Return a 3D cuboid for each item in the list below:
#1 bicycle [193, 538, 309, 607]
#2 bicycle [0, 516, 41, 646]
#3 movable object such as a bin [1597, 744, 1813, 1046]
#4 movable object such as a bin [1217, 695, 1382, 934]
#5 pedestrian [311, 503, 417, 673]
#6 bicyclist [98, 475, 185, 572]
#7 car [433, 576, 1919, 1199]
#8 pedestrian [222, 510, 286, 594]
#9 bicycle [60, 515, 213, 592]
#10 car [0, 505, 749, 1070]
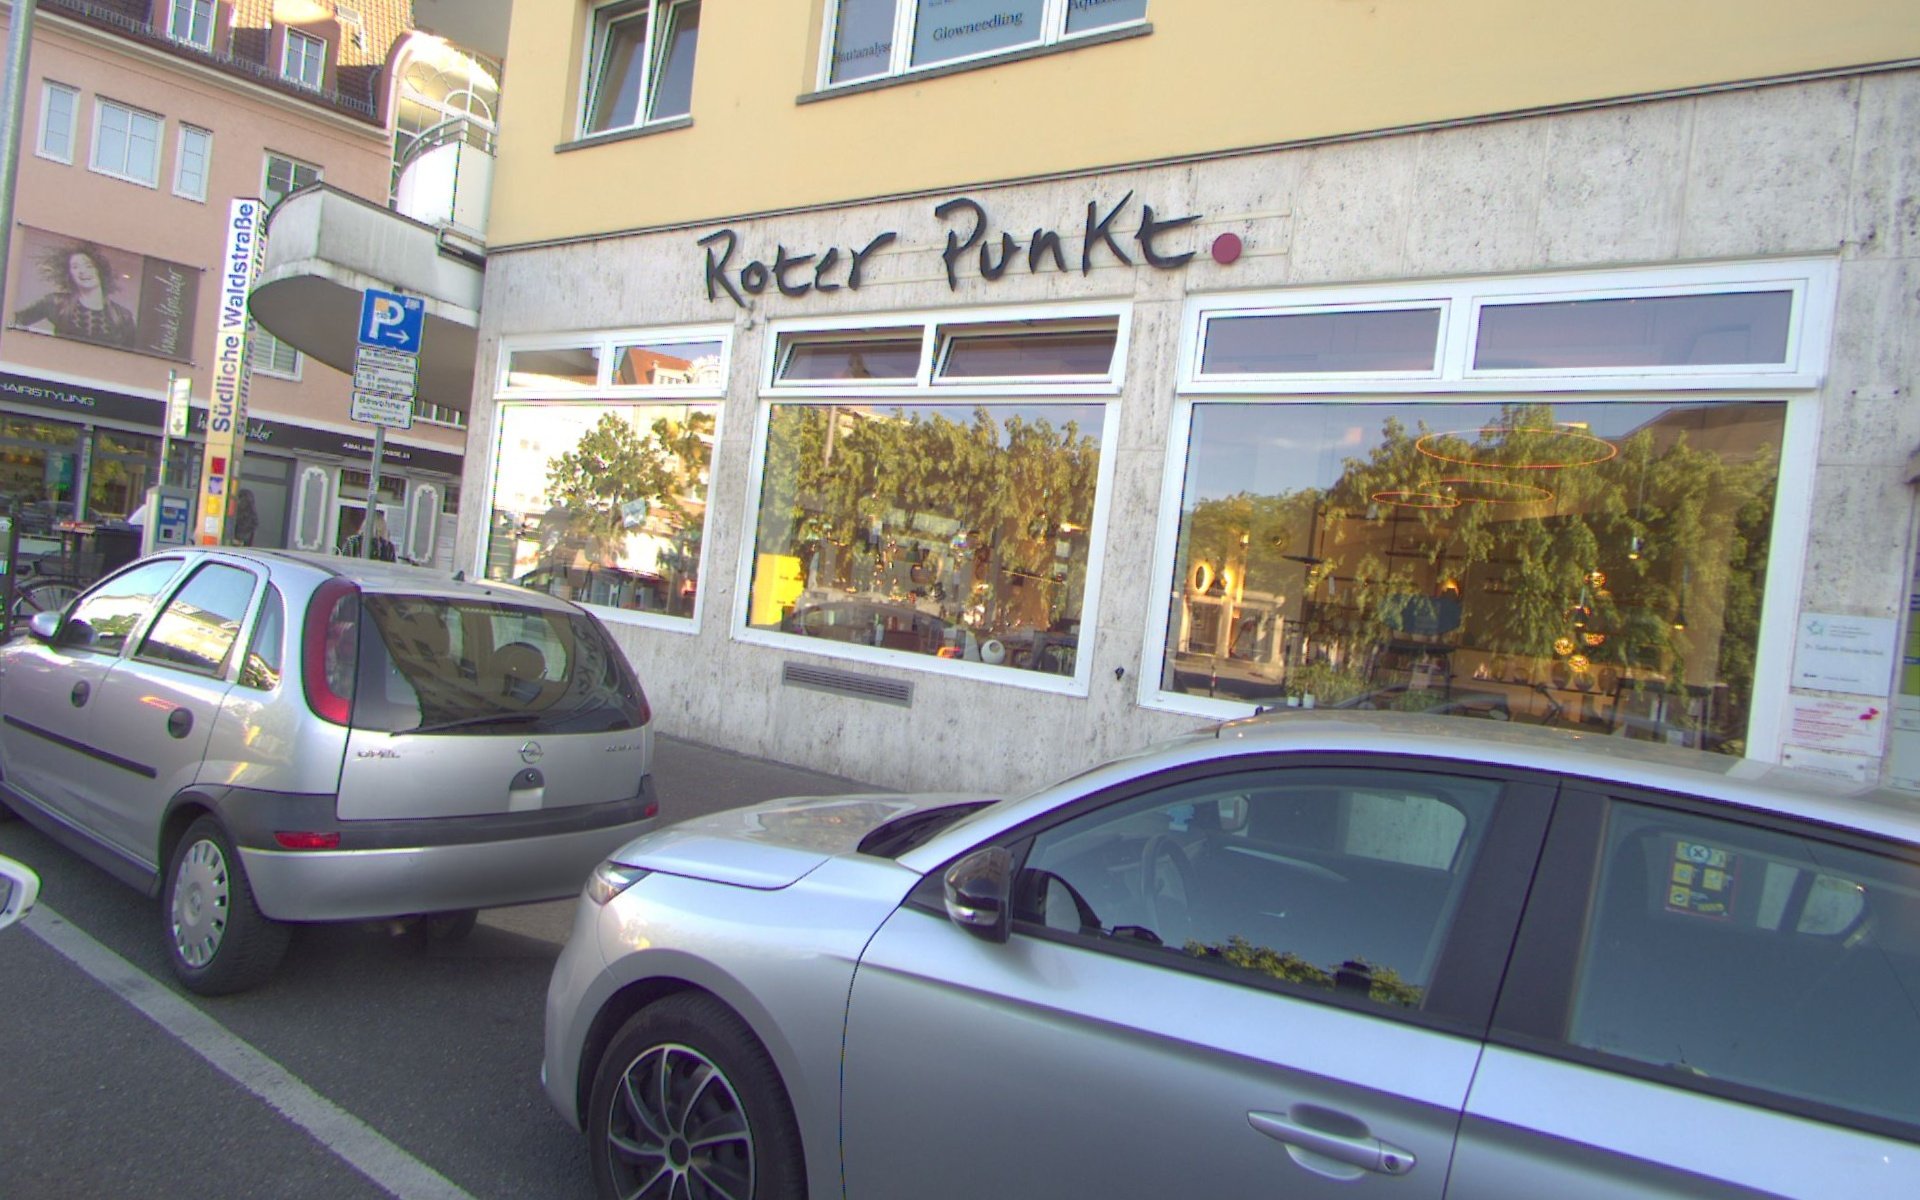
[{"bbox_3d":[-13.278,-0.506,18.879,0.583,1.057,1.612,6,-2,44],"label":"bicycle"},{"bbox_3d":[-9.176,-0.213,8.757,0.425,1.175,1.629,7,1,30],"label":"bicycle"},{"bbox_3d":[3.325,1.274,4.561,0.609,1.082,0.703,7,3,31],"label":"movable object such as a bin"},{"bbox_3d":[1.858,1.115,5.474,0.609,1.082,0.703,7,3,31],"label":"movable object such as a bin"},{"bbox_3d":[-6.104,-0.117,10.309,0.618,1.654,0.661,6,2,36],"label":"pedestrian"},{"bbox_3d":[-15.186,-1.402,18.670,1.094,1.608,0.621,7,0,-42],"label":"bicyclist"},{"bbox_3d":[0.935,0.933,2.240,4.006,1.444,1.674,7,-1,28],"label":"car"},{"bbox_3d":[-13.244,-0.907,18.875,0.575,1.457,0.742,6,-1,44],"label":"pedestrian"},{"bbox_3d":[-15.245,-0.849,18.674,2.116,1.215,0.621,5,2,-43],"label":"bicycle"},{"bbox_3d":[-2.965,0.462,4.449,3.822,1.411,1.624,7,-1,33],"label":"car"}]
